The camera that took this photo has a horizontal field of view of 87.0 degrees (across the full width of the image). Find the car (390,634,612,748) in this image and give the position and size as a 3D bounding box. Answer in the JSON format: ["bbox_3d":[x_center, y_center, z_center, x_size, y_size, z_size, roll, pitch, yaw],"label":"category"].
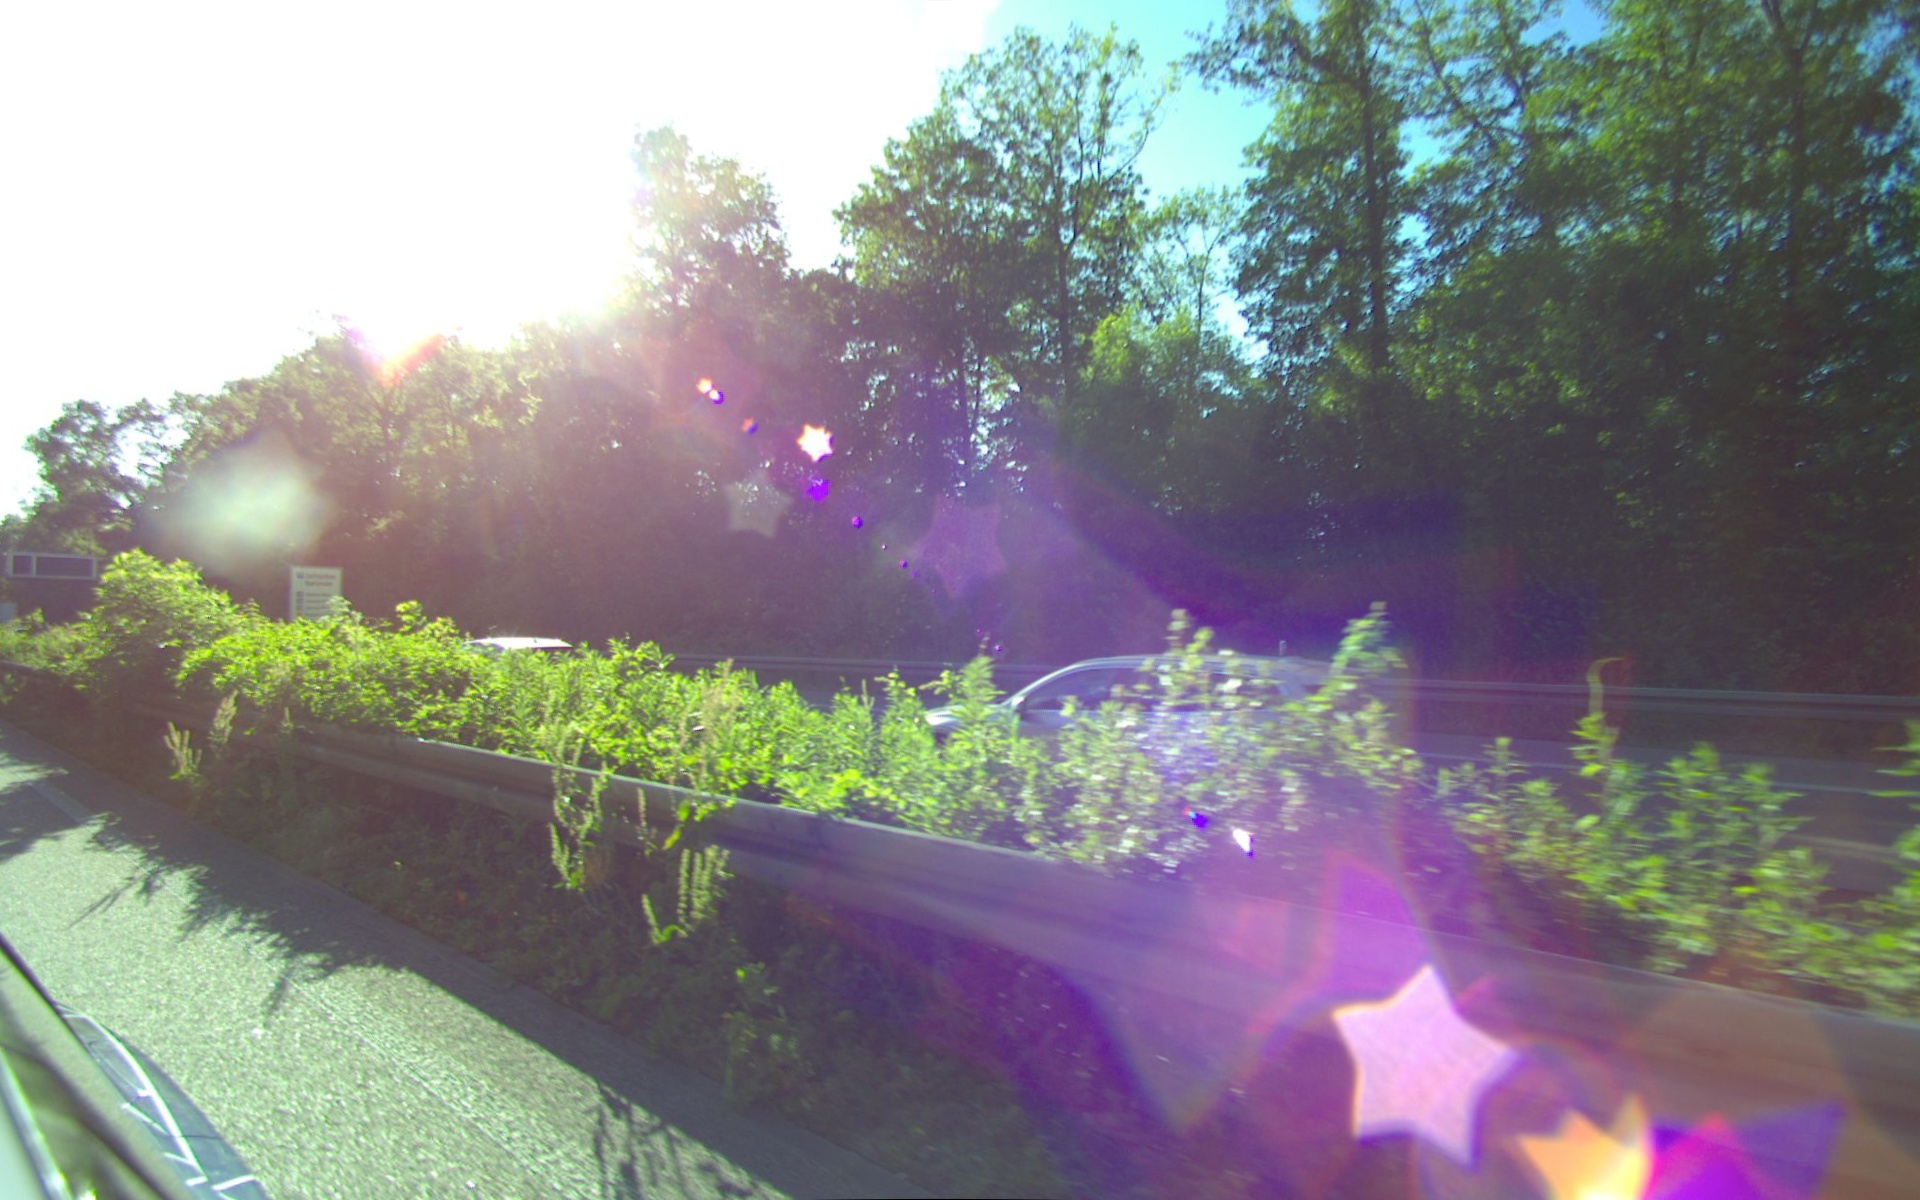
[{"bbox_3d":[-7.929,1.433,17.260,4.581,1.615,1.714,-1,-1,41],"label":"car"}]

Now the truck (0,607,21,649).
[{"bbox_3d":[-98.701,2.923,102.970,14.444,4.043,3.210,-2,-1,41],"label":"truck"}]

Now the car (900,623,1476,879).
[{"bbox_3d":[1.711,1.026,8.711,4.583,1.617,1.695,-1,-1,41],"label":"car"}]
